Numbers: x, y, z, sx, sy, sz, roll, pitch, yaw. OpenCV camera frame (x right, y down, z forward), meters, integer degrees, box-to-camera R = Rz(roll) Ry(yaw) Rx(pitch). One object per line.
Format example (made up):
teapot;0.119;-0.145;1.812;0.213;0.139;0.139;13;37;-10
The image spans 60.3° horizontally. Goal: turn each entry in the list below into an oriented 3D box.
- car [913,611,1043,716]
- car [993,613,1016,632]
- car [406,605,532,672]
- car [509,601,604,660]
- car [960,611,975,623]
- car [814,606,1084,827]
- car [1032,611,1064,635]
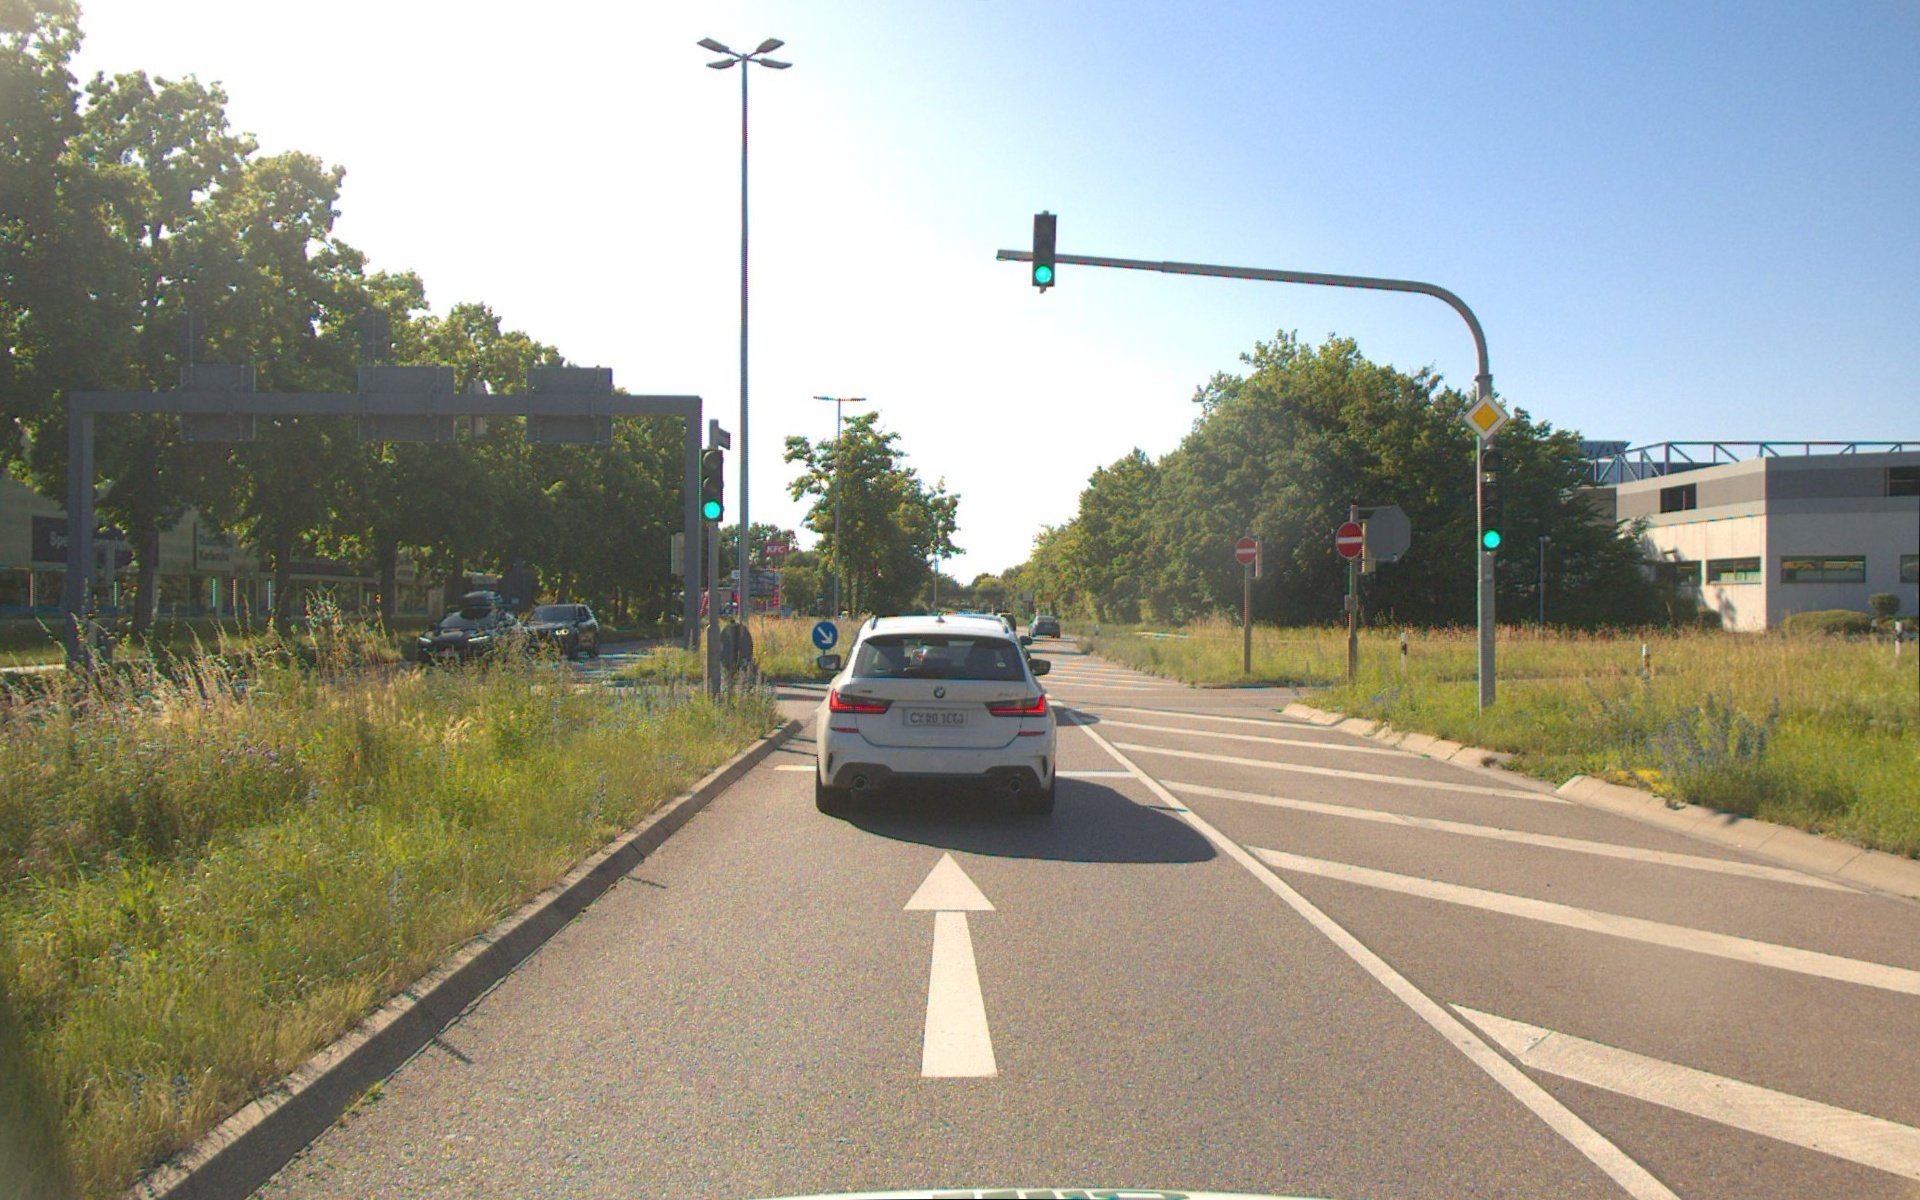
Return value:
car;0.228;0.911;25.611;1.824;1.481;4.546;0;0;-1
car;3.815;1.933;141.843;1.736;1.583;3.831;0;0;-2
car;-12.468;0.949;42.283;1.838;1.570;4.572;-1;0;0
car;-12.727;0.926;52.414;1.902;1.726;4.629;-1;0;-1
car;0.962;2.253;219.104;1.824;1.593;4.546;0;0;-1
car;-0.077;0.810;13.619;1.823;1.480;4.547;1;0;0
car;5.828;1.534;109.583;1.824;1.525;4.335;1;-1;-1
